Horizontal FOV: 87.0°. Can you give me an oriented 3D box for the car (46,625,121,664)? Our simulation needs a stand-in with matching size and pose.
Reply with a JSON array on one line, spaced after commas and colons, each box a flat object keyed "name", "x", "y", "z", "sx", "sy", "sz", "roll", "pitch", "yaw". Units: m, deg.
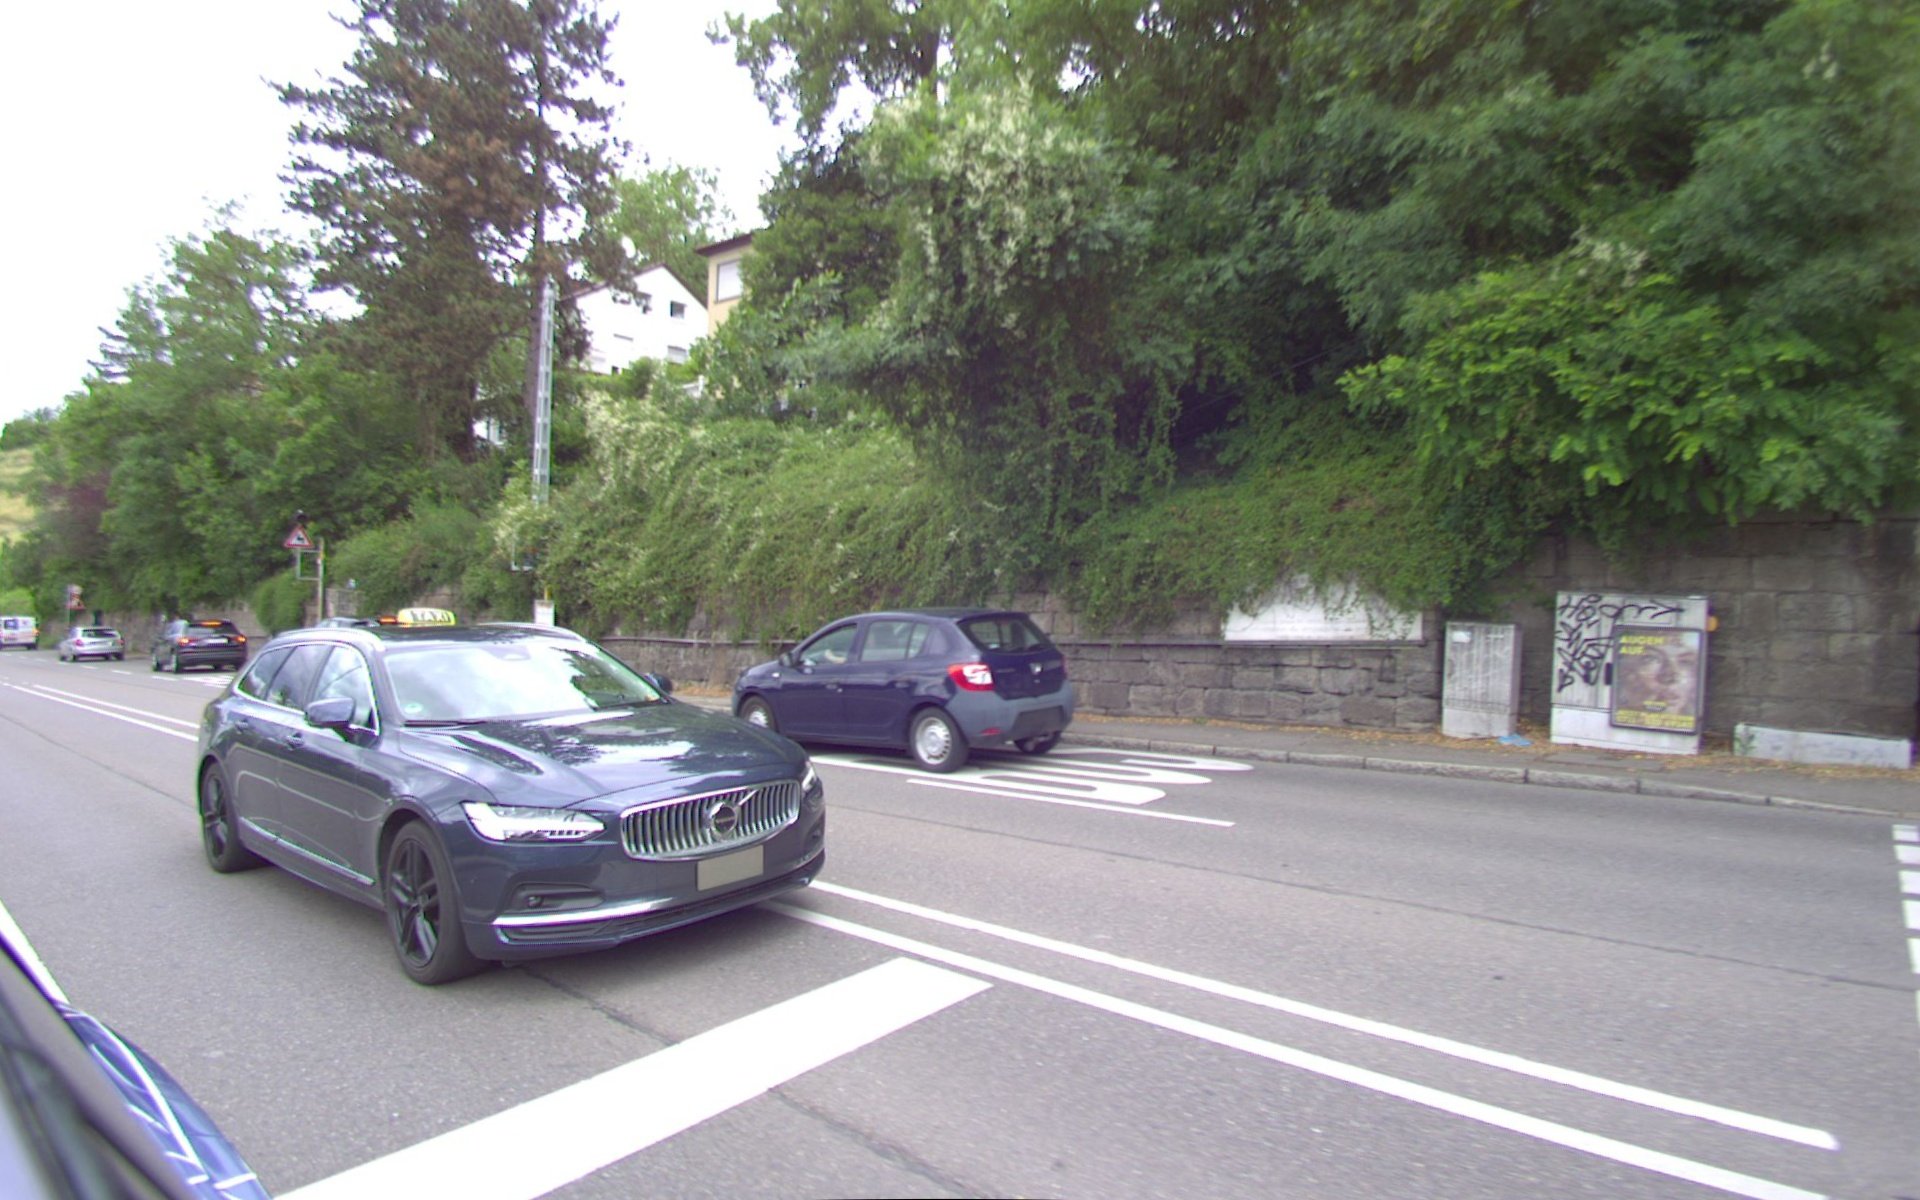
[{"name": "car", "x": -35.947, "y": 1.816, "z": 41.463, "sx": 4.229, "sy": 1.453, "sz": 1.659, "roll": -3, "pitch": 0, "yaw": 40}]

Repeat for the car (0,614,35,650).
[{"name": "car", "x": -57.011, "y": 1.912, "z": 60.558, "sx": 5.353, "sy": 2.020, "sz": 1.901, "roll": -2, "pitch": -1, "yaw": 41}]

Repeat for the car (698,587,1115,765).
[{"name": "car", "x": -0.700, "y": 0.659, "z": 10.482, "sx": 4.246, "sy": 1.444, "sz": 1.794, "roll": -1, "pitch": 1, "yaw": 41}]

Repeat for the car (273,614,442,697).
[{"name": "car", "x": -12.498, "y": 1.104, "z": 20.889, "sx": 4.209, "sy": 1.493, "sz": 1.763, "roll": -2, "pitch": 0, "yaw": 41}]

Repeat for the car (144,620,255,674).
[{"name": "car", "x": -23.459, "y": 1.393, "z": 31.166, "sx": 4.247, "sy": 1.560, "sz": 1.921, "roll": -1, "pitch": -1, "yaw": 41}]

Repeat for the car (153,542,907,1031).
[{"name": "car", "x": -2.770, "y": 0.634, "z": 5.685, "sx": 5.025, "sy": 1.588, "sz": 1.914, "roll": -2, "pitch": 0, "yaw": 42}]
